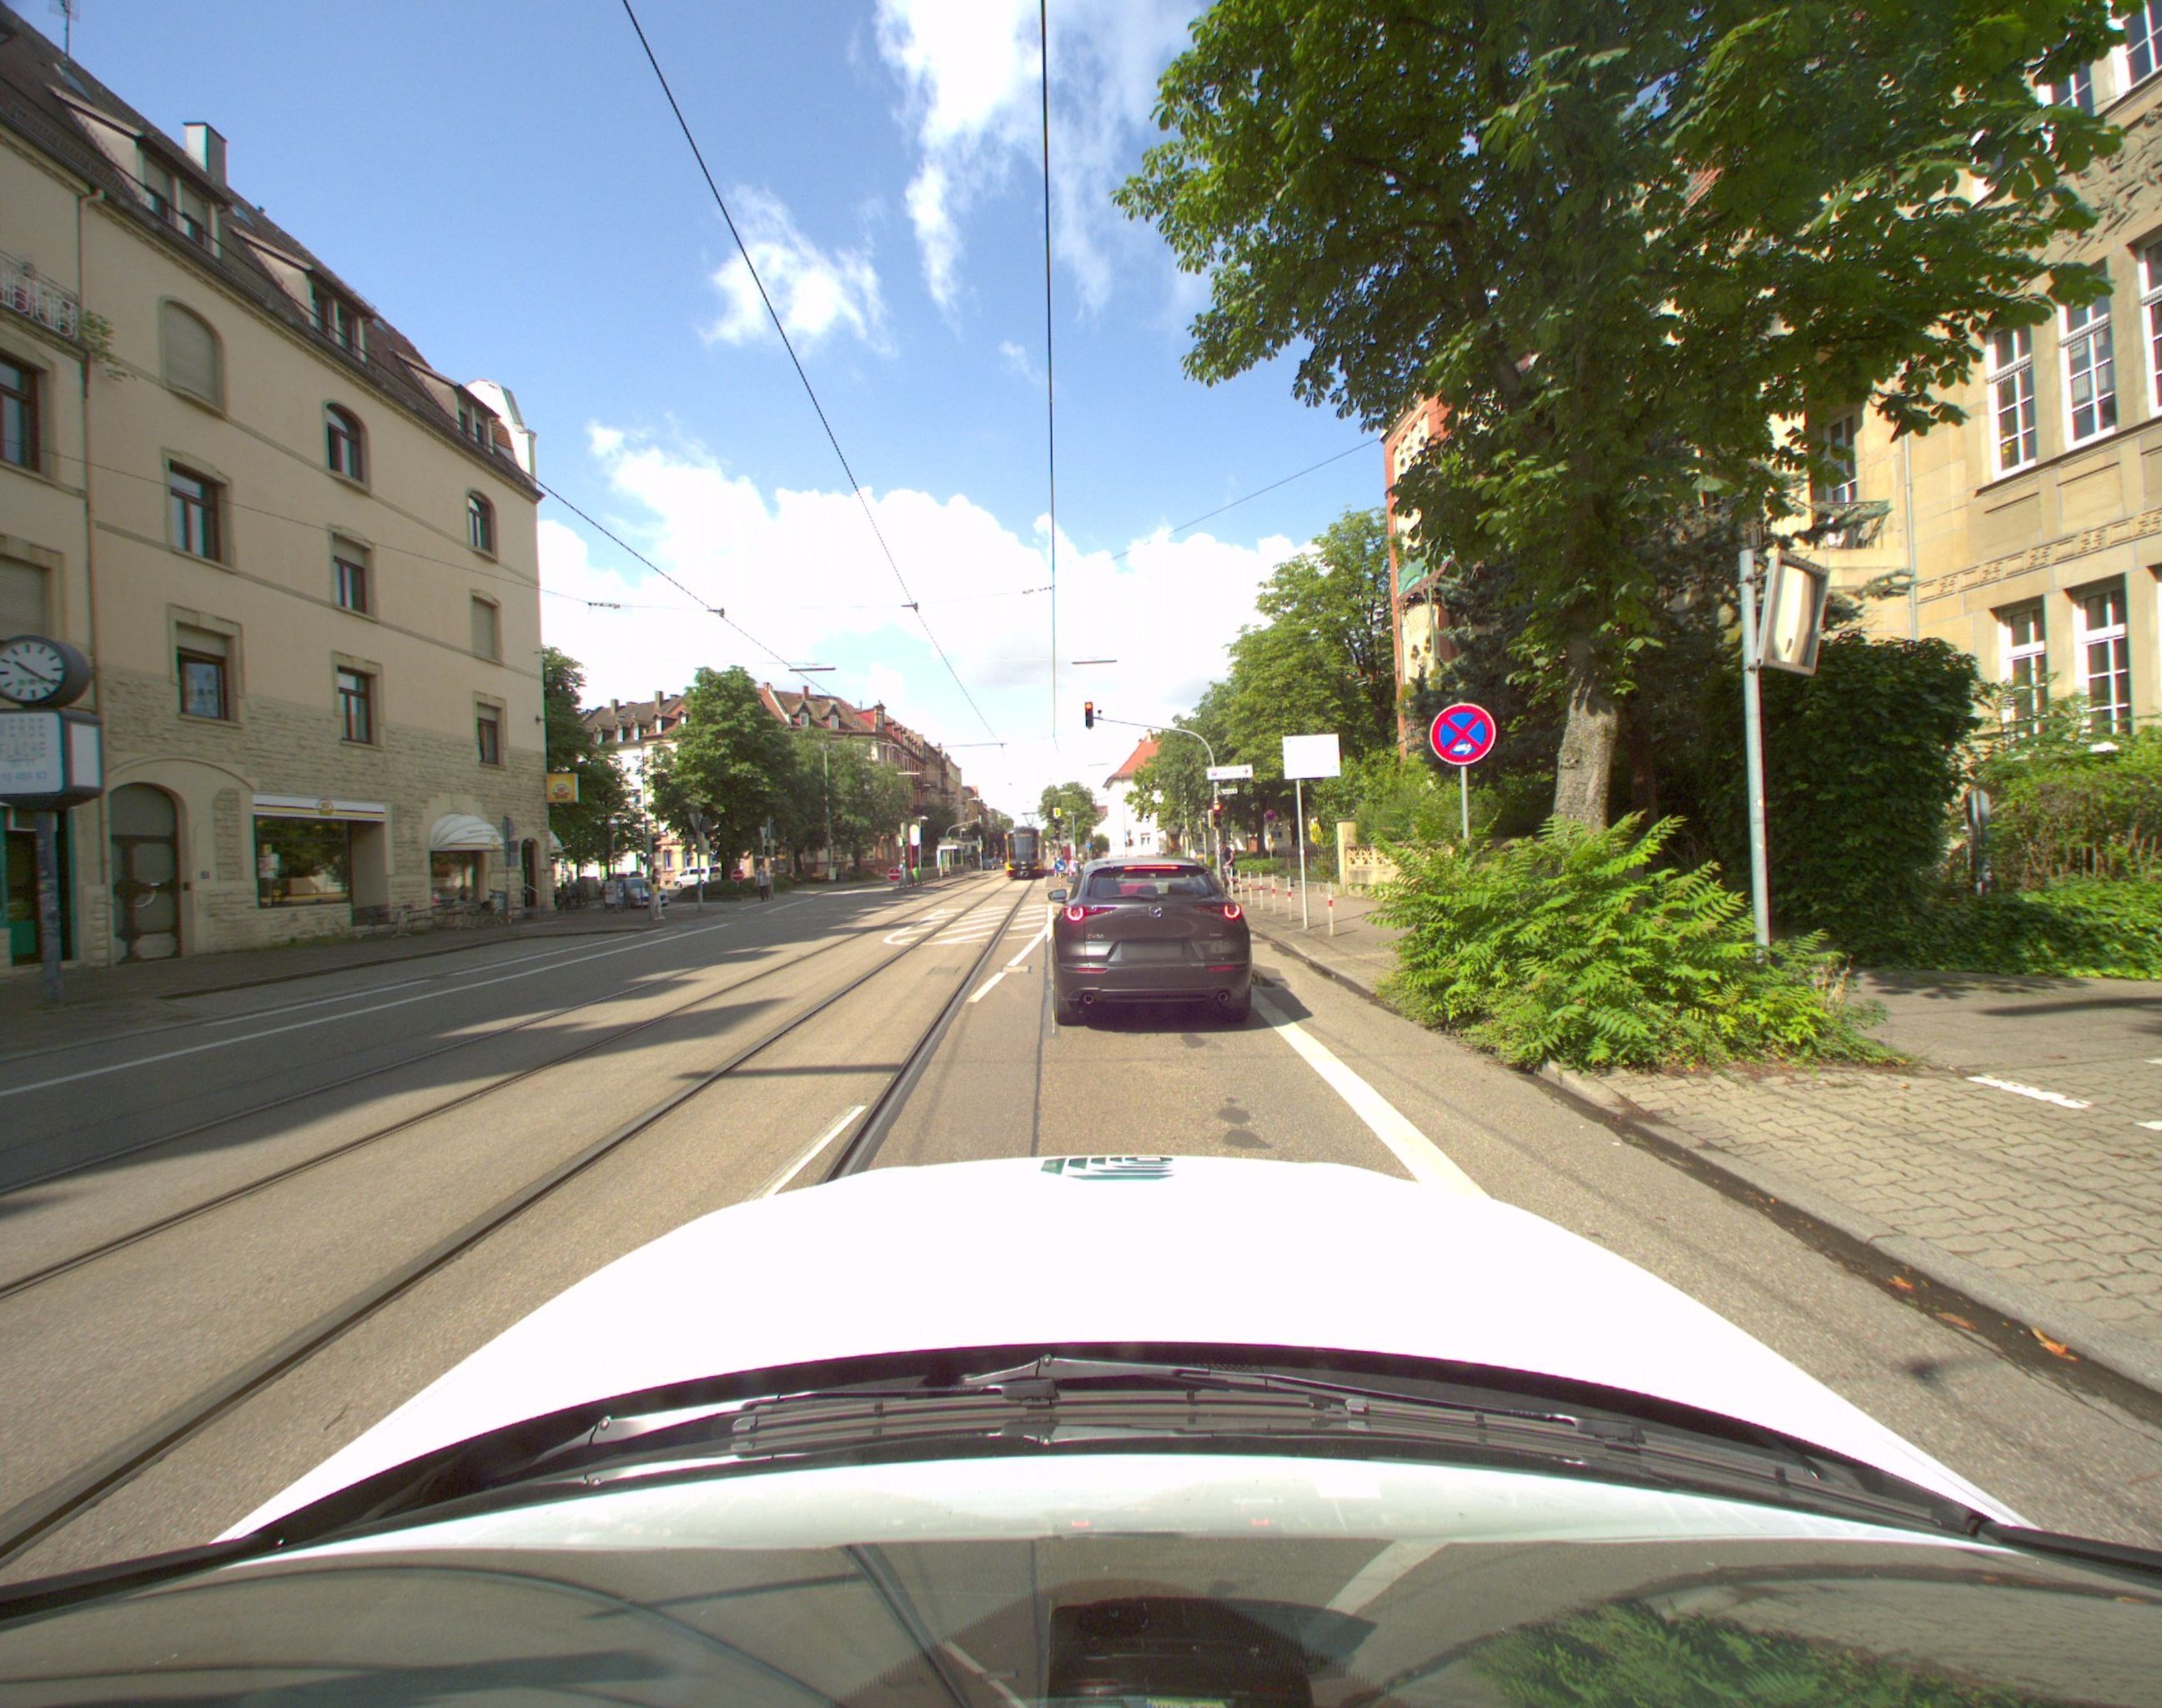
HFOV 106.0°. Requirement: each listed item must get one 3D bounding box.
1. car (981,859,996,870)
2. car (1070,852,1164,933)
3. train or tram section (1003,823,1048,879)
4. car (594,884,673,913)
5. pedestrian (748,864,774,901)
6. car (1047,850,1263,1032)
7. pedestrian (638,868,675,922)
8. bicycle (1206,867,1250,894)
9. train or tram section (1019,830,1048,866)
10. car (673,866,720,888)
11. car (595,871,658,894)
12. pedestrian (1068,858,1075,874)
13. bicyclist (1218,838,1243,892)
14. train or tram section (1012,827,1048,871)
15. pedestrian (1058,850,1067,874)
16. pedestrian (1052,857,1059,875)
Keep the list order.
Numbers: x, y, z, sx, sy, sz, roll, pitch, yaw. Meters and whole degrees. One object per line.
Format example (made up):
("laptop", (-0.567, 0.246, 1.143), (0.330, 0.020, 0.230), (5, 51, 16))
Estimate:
("car", (-11.806, 1.295, 104.419), (1.610, 1.310, 3.625), (-3, 0, -2))
("car", (0.725, 0.727, 17.393), (1.772, 1.499, 4.001), (-1, 0, 1))
("train or tram section", (-3.867, -0.290, 59.439), (2.746, 3.490, 14.395), (-3, 1, -2))
("car", (-21.158, 2.104, 38.460), (3.948, 1.182, 1.689), (-3, 0, 35))
("pedestrian", (-15.427, 1.376, 39.280), (0.817, 1.705, 0.720), (-3, 0, 7))
("car", (0.658, 0.720, 8.768), (1.772, 1.499, 4.001), (-1, 0, 1))
("pedestrian", (-14.299, 1.364, 27.431), (0.676, 1.754, 0.806), (-3, 0, 24))
("bicycle", (5.079, 0.906, 28.080), (1.708, 0.824, 0.488), (-3, 0, -40))
("train or tram section", (-5.048, -0.713, 88.208), (2.746, 3.490, 14.395), (-3, 1, -2))
("car", (-37.470, 2.220, 79.407), (3.950, 1.903, 2.012), (-3, 0, 25))
("car", (-37.285, 2.335, 66.836), (3.972, 1.596, 2.001), (-3, 0, 1))
("pedestrian", (-0.597, 0.778, 51.070), (0.379, 0.984, 0.474), (-3, 0, -3))
("bicyclist", (5.078, 0.373, 27.667), (0.608, 1.793, 0.656), (-3, 0, -9))
("train or tram section", (-4.457, -0.495, 73.819), (2.746, 3.490, 14.395), (-3, 1, -2))
("pedestrian", (-1.156, 0.504, 51.031), (0.449, 1.434, 0.474), (-3, 0, -3))
("pedestrian", (-1.613, 0.742, 50.967), (0.379, 1.071, 0.474), (-3, 0, -3))
